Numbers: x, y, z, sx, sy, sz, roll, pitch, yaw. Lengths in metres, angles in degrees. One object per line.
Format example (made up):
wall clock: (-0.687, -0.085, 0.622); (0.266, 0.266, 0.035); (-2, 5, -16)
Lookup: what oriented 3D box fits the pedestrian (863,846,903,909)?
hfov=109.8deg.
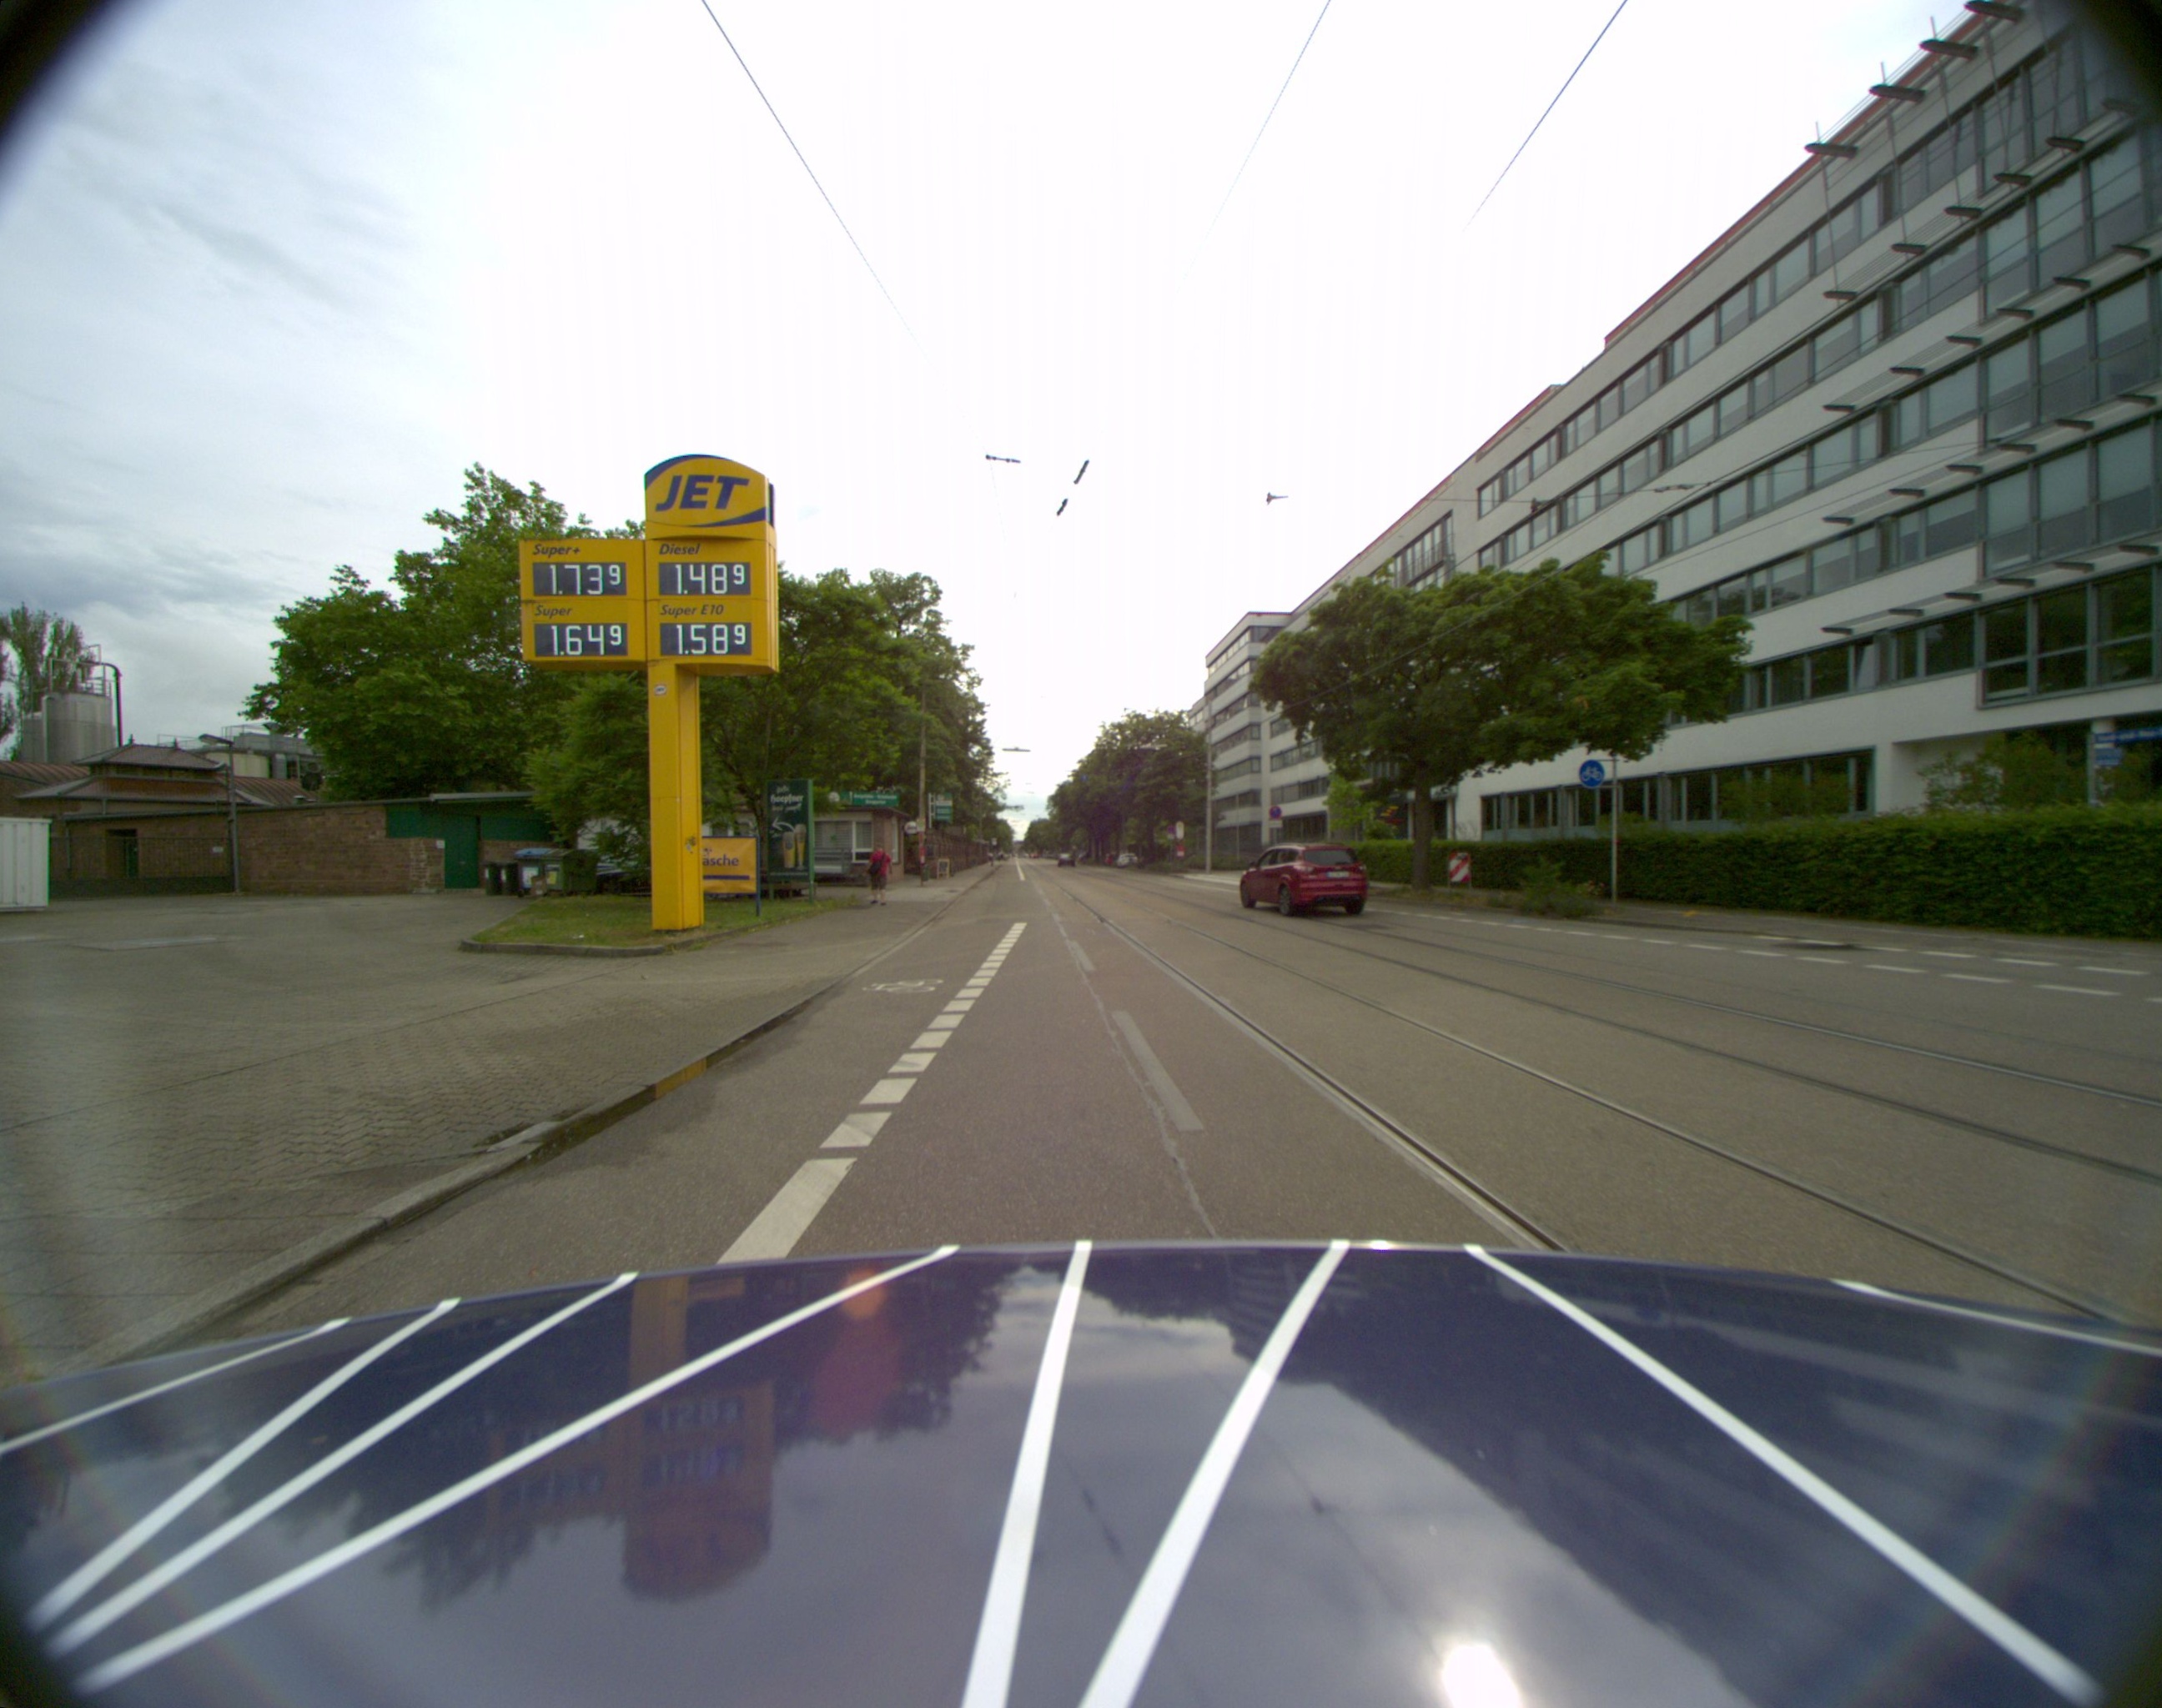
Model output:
pedestrian: (-5.633, 0.650, 21.632); (0.871, 1.738, 0.848); (1, 2, -29)

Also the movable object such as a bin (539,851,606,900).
movable object such as a bin: (-14.466, 0.601, 21.625); (1.118, 1.312, 1.162); (-1, 1, 30)

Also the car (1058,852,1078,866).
car: (-1.467, 0.546, 86.850); (1.802, 1.537, 4.477); (-1, 1, -7)

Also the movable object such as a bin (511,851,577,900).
movable object such as a bin: (-15.622, 0.599, 22.116); (1.118, 1.351, 1.162); (-1, 1, 30)

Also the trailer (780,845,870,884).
trailer: (-10.837, 0.440, 32.326); (3.292, 1.523, 1.772); (1, 3, -4)

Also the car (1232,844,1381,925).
car: (5.318, 0.634, 18.587); (1.848, 1.714, 4.404); (-1, 1, -7)

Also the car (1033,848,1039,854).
car: (-15.116, -0.945, 255.995); (1.999, 2.002, 3.998); (-2, 1, -3)

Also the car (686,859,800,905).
car: (-11.163, 0.876, 25.454); (1.999, 1.281, 3.999); (-2, 1, 0)

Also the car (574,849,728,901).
car: (-14.167, 0.633, 25.253); (1.821, 1.509, 4.008); (-1, 1, 36)

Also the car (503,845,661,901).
car: (-16.779, 0.592, 25.754); (1.807, 1.686, 4.033); (-1, 1, 32)

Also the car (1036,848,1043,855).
car: (-12.652, -0.733, 231.158); (1.999, 2.002, 3.999); (-2, 1, 0)
